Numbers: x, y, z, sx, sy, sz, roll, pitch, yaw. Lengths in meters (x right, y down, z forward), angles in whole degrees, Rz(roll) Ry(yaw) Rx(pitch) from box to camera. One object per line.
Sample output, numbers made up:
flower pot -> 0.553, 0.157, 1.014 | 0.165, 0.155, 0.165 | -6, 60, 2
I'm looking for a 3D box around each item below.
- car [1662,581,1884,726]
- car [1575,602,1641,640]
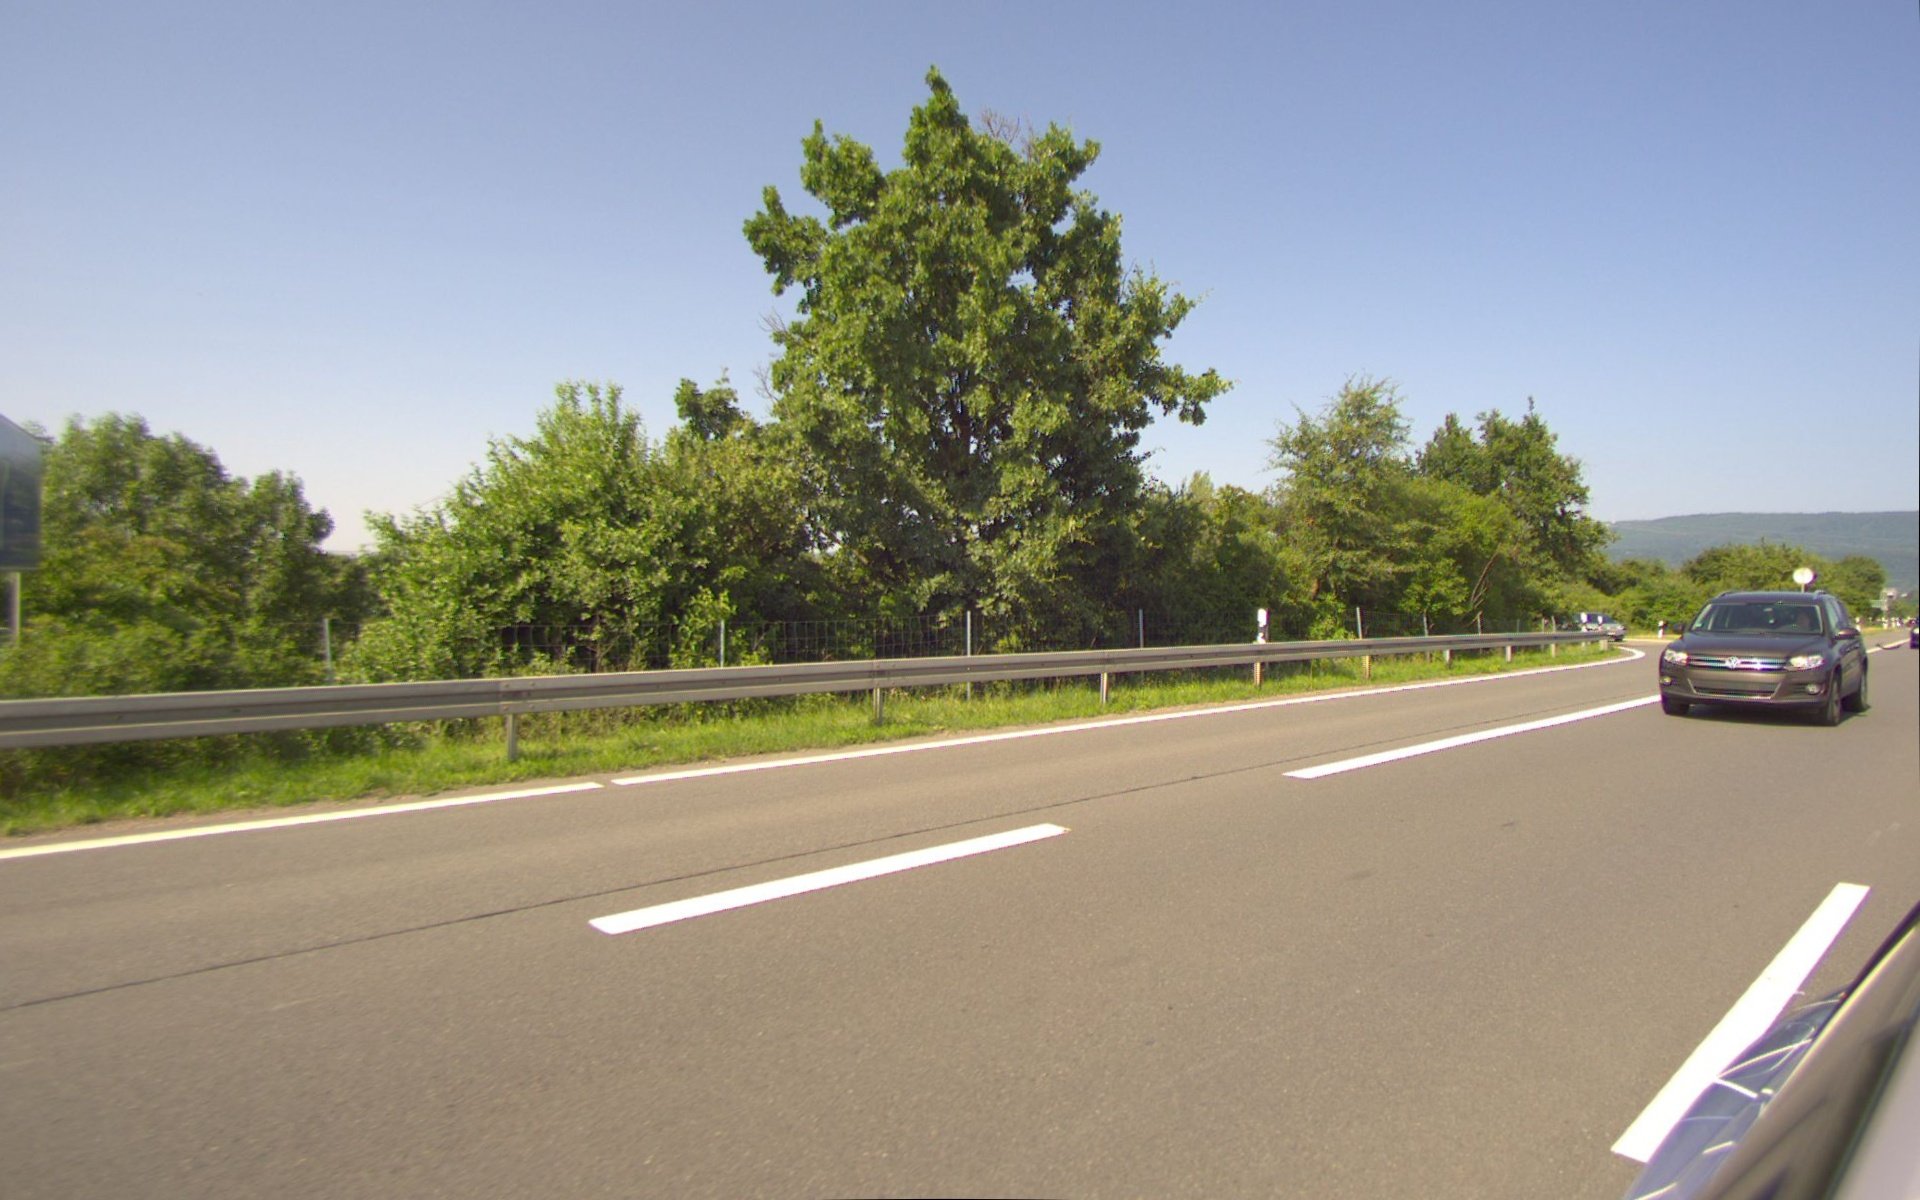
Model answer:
car -> 11.114, 0.601, 13.734 | 4.078, 1.667, 1.787 | 0, 0, -43
car -> 33.884, 1.074, 53.058 | 1.839, 1.686, 3.982 | -1, 3, 16
